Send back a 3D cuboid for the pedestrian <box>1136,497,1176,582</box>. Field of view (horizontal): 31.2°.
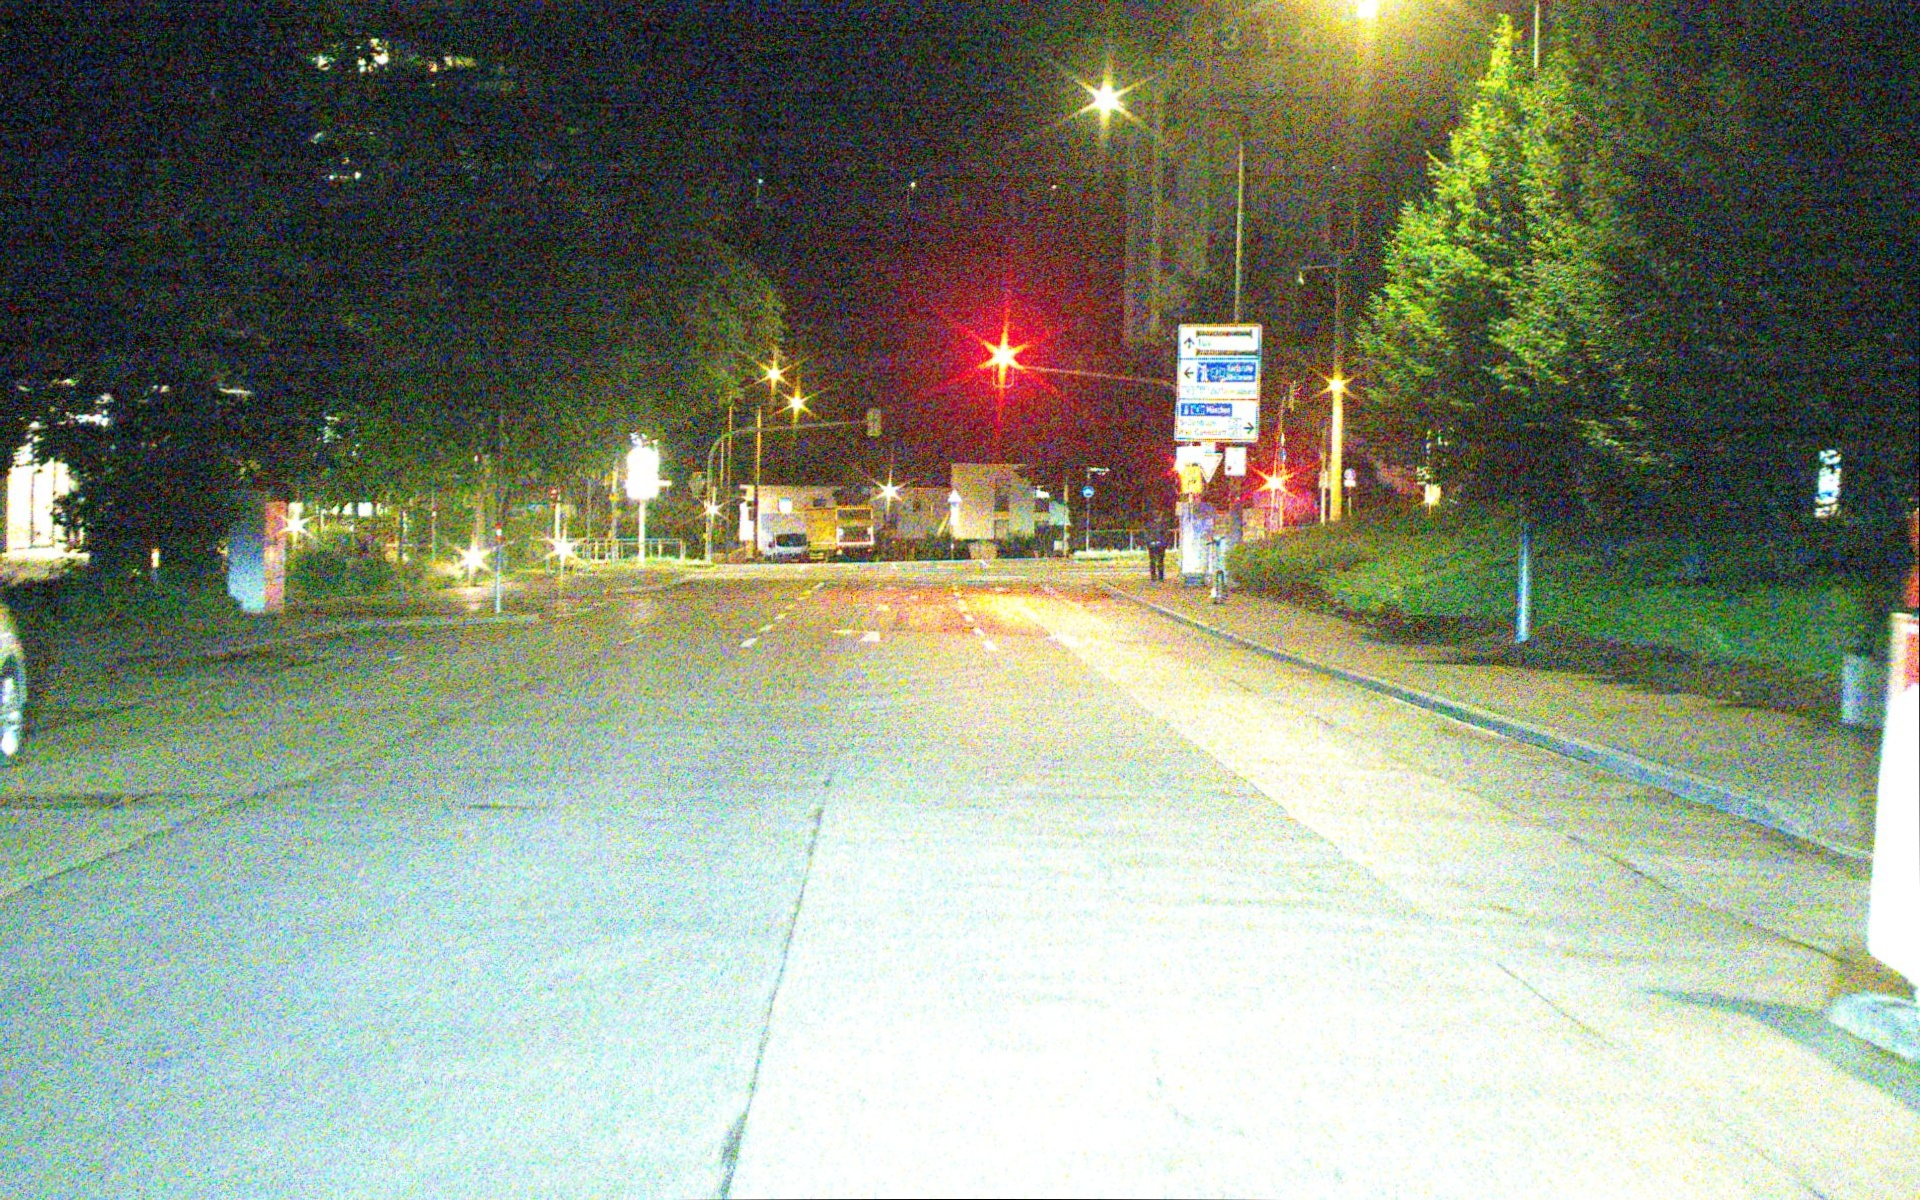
[{"bbox_3d":[4.553,-1.410,79.804,0.737,1.975,0.626,0,1,-17],"label":"pedestrian"}]

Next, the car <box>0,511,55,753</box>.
[{"bbox_3d":[-6.516,0.212,18.929,1.911,1.399,4.338,0,2,0],"label":"car"}]

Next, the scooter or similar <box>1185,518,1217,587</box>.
[{"bbox_3d":[4.480,-0.891,63.844,0.494,1.257,1.320,-1,1,1],"label":"scooter or similar"}]

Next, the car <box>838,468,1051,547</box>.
[{"bbox_3d":[-0.997,-5.725,213.762,12.380,4.693,4.811,0,1,-14],"label":"car"}]

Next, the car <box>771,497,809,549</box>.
[{"bbox_3d":[-9.964,-4.525,201.220,1.993,2.963,4.001,0,1,-6],"label":"car"}]
